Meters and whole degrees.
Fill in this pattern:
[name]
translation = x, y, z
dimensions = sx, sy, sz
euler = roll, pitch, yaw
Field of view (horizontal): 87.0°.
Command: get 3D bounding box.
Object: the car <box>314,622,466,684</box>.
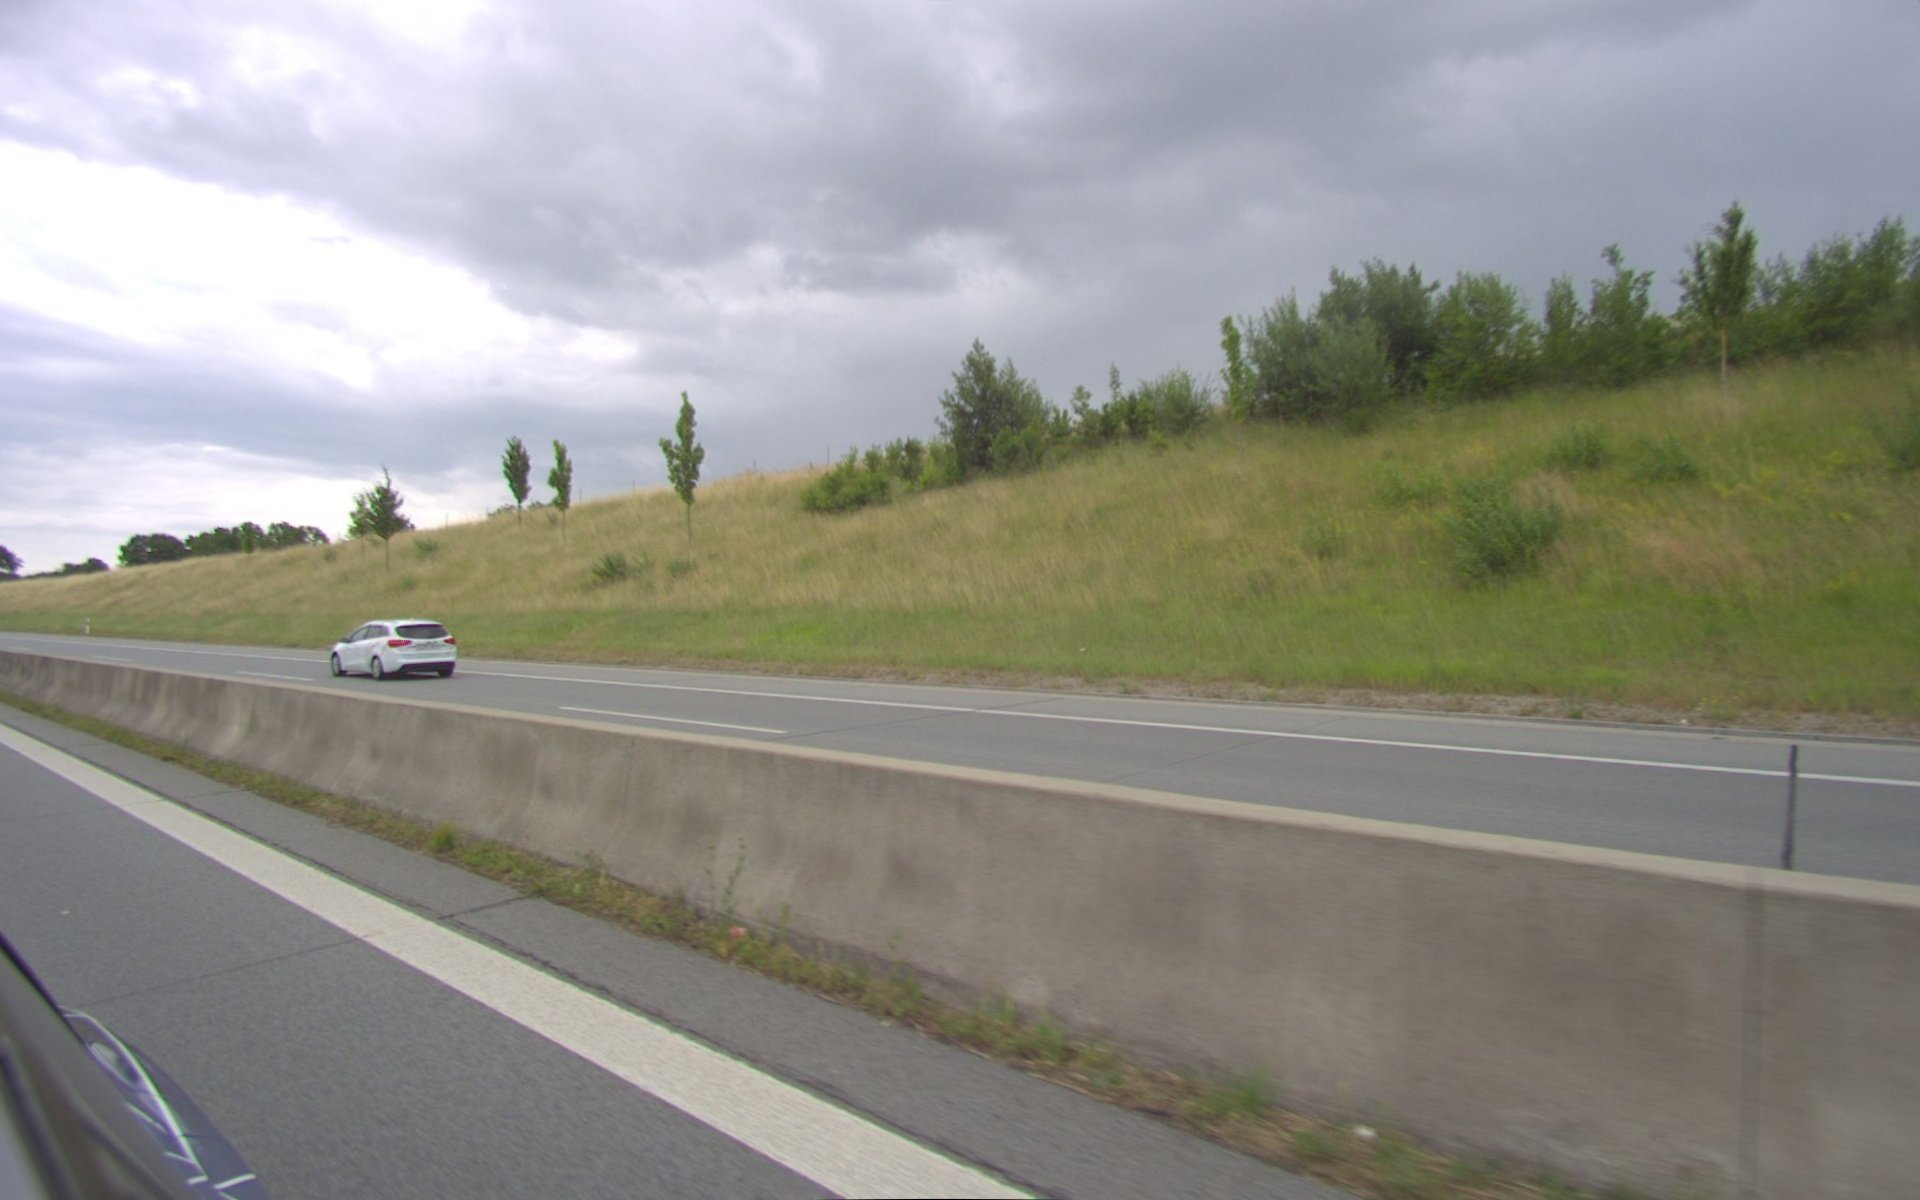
[car]
translation = -14.740, 1.296, 26.057
dimensions = 5.011, 1.451, 1.756
euler = -1, -1, 40
